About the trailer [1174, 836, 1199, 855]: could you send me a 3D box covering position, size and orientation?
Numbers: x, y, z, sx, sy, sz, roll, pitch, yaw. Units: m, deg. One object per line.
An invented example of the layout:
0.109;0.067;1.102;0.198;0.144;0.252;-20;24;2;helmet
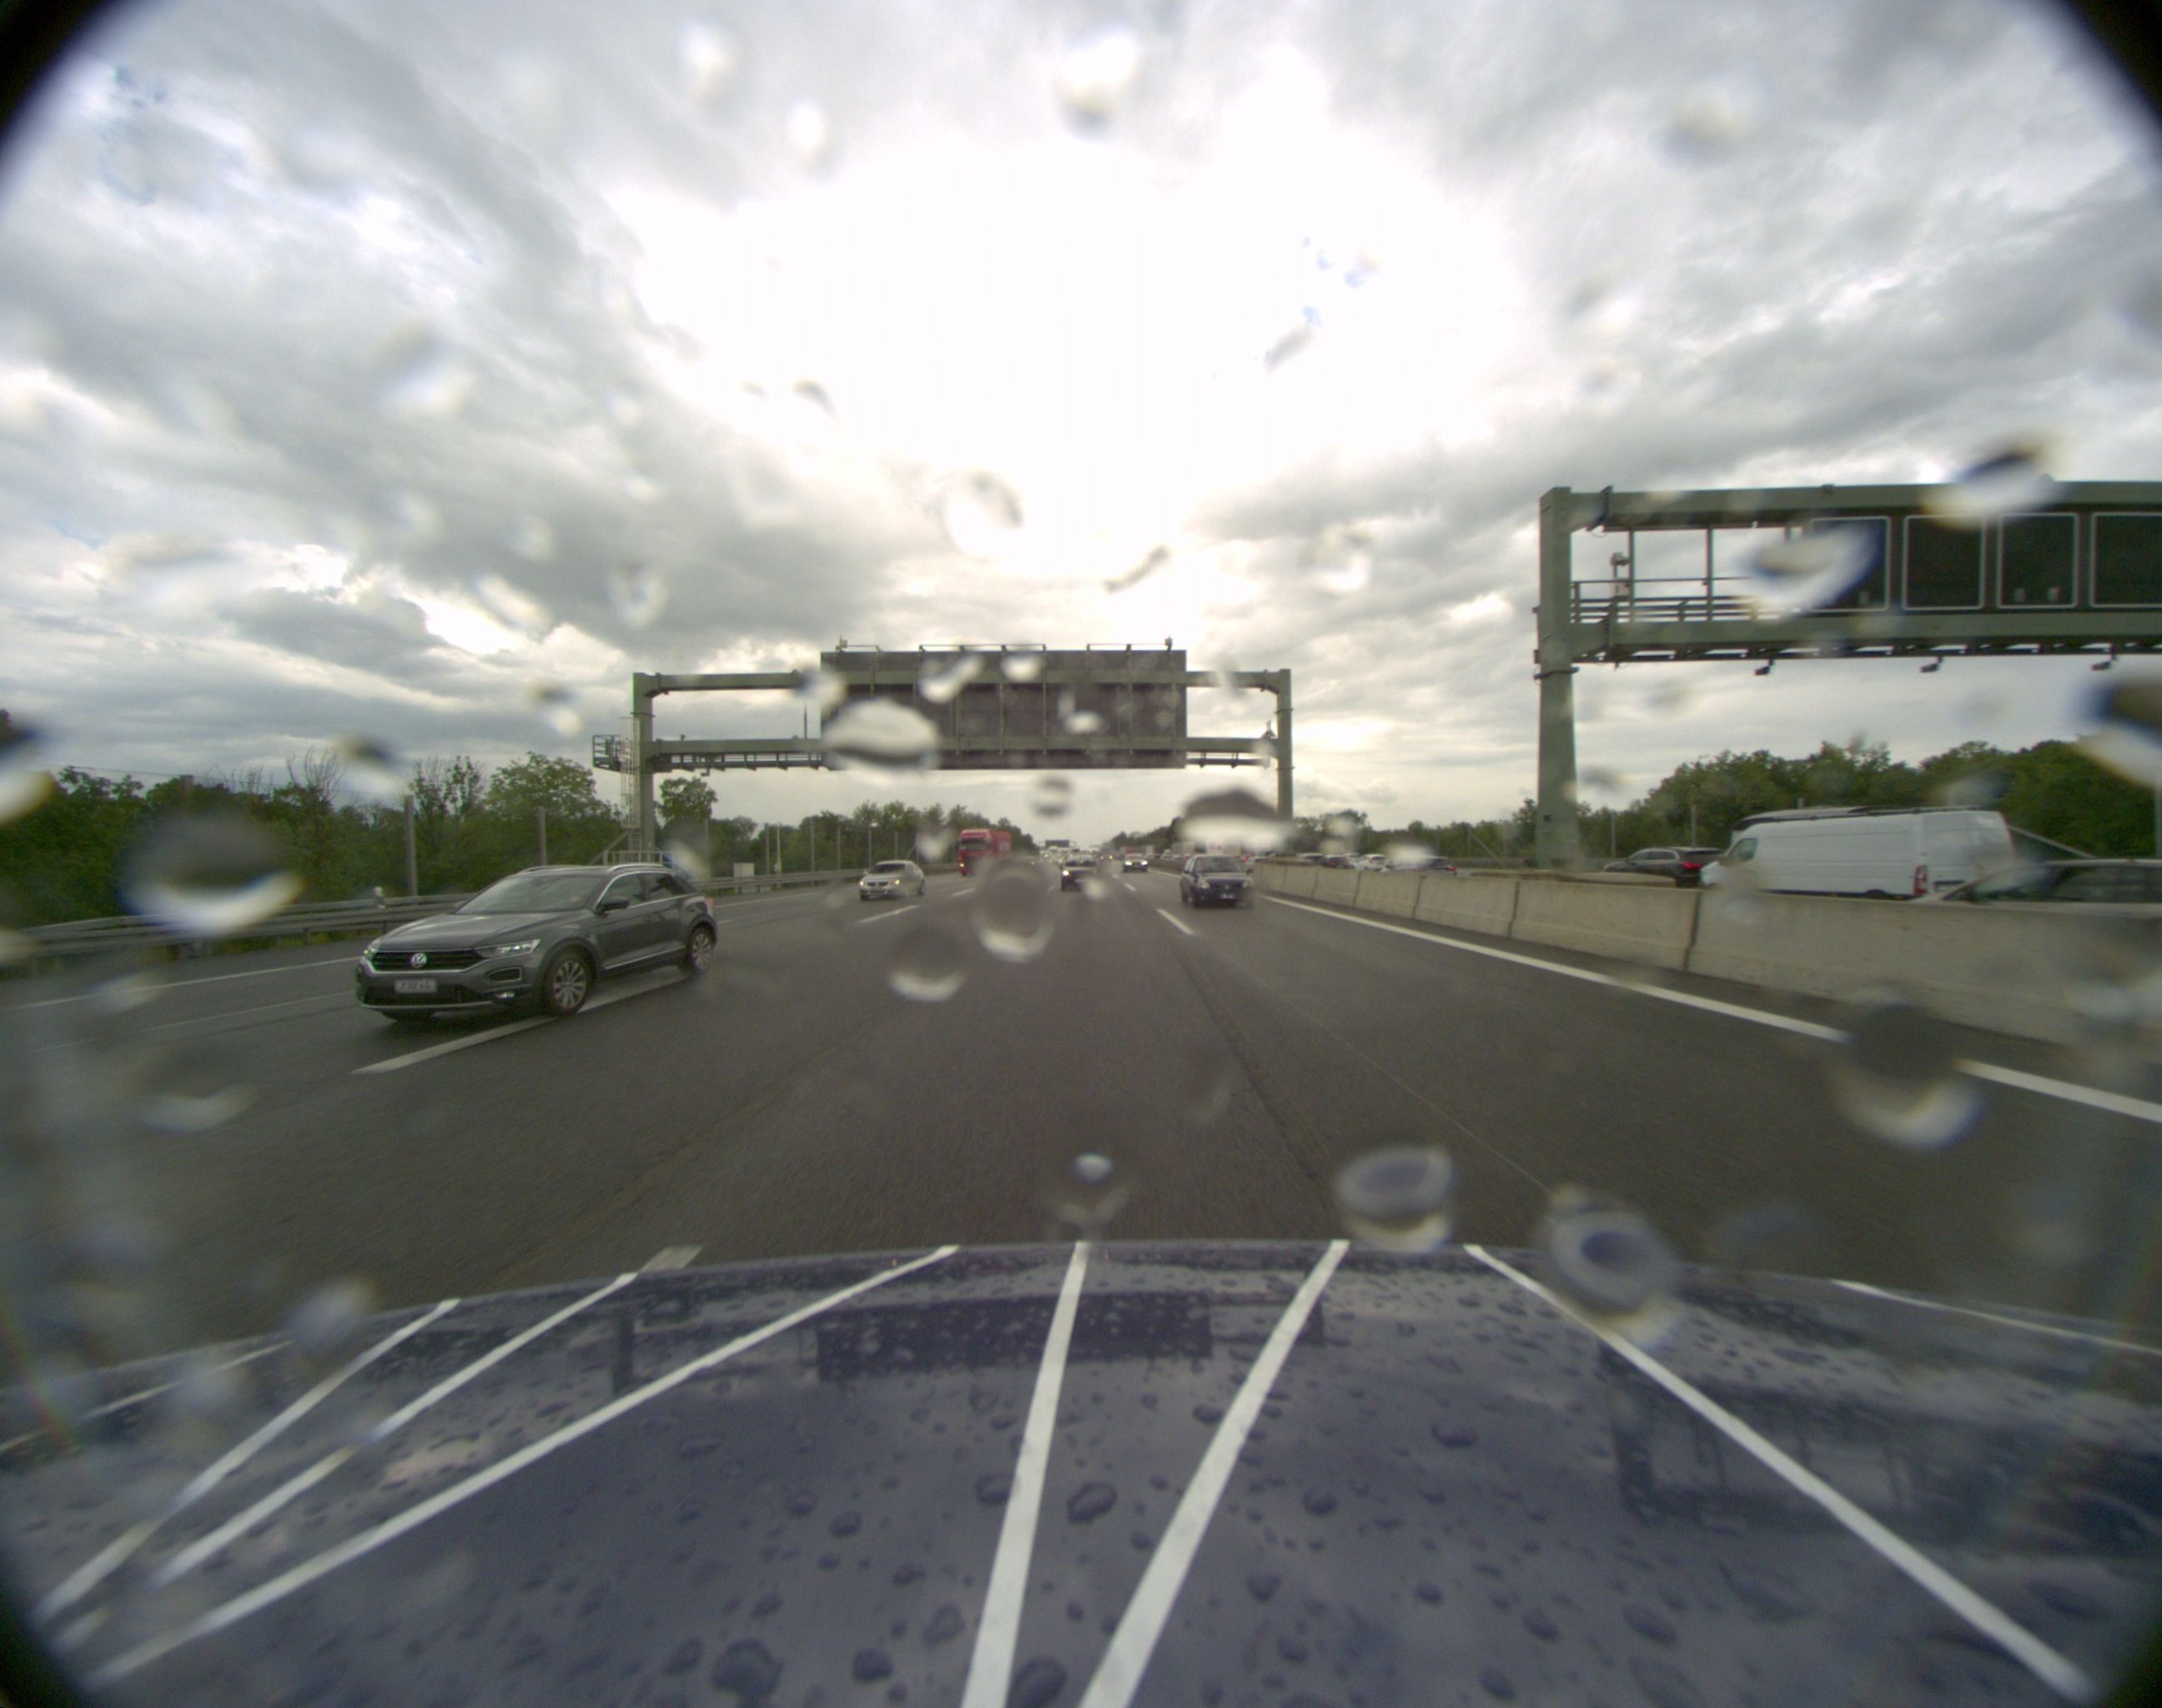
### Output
22.198;-1.738;160.689;3.252;3.910;13.015;-2;0;0;trailer

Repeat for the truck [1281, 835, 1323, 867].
25.457;-0.313;87.833;2.470;3.516;7.807;-1;0;0;truck

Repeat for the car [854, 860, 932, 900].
-7.442;0.978;30.482;1.898;1.438;4.246;-1;0;2;car

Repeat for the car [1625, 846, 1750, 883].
26.024;0.444;32.842;1.707;1.440;4.503;-1;0;-2;car

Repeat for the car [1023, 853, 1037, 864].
-7.011;0.643;105.086;1.820;1.534;4.357;-1;0;-3;car

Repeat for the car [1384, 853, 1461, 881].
18.108;0.673;40.589;1.803;1.349;5.129;-1;0;0;car

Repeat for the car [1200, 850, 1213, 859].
22.688;0.072;137.354;1.649;1.536;4.000;-1;0;1;car

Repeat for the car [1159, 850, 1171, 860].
18.099;0.163;164.141;1.826;2.040;5.675;-1;0;0;car

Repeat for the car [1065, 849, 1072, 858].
-3.674;-0.220;221.342;2.037;2.587;4.513;-1;0;-2;car

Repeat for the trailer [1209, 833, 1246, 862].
22.196;-0.953;115.781;3.195;4.169;11.956;-1;0;0;trailer

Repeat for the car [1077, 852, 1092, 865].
0.574;0.671;110.909;2.134;1.831;4.000;-1;0;0;car

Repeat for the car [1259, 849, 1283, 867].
21.679;0.465;86.785;1.587;1.879;4.820;-1;0;0;car

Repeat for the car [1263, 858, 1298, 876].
18.424;1.197;70.492;1.887;1.589;5.135;-1;0;0;car

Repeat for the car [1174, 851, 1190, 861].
14.432;0.321;108.796;1.649;1.432;4.730;-1;0;1;car

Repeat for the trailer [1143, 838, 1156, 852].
21.196;-2.862;236.232;2.825;4.037;11.602;-2;0;0;trailer

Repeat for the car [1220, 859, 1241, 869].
18.716;1.234;95.301;1.707;1.281;4.187;-1;0;0;car

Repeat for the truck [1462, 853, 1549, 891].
20.677;0.850;37.248;1.999;1.736;4.000;-1;0;-1;truck

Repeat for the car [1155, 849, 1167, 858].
14.684;-0.180;139.736;1.797;1.609;4.283;-1;0;1;car

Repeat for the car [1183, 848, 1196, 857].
18.954;-0.257;132.647;1.649;1.494;4.676;-1;0;1;car

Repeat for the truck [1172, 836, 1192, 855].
22.206;-1.823;167.747;3.207;3.910;7.573;-2;0;0;truck

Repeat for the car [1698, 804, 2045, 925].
18.779;0.236;18.715;2.208;2.474;6.065;-1;0;0;car

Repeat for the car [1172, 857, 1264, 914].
3.774;0.813;21.744;1.781;1.399;5.017;-1;0;1;car

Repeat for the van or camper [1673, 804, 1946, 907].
22.529;0.066;24.069;2.590;2.830;6.213;-1;0;-2;van or camper

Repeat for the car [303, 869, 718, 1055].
-6.025;1.011;8.696;1.796;1.553;3.722;-2;0;2;car

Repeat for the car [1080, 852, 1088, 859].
0.930;0.438;212.379;1.999;2.002;3.507;-2;0;-2;car

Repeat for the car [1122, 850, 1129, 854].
14.487;-0.710;247.896;1.836;1.443;4.000;-1;0;0;car

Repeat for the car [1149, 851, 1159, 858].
15.168;0.086;158.334;1.724;1.346;4.625;0;0;0;car

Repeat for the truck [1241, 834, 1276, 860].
26.874;-0.975;115.719;2.906;3.817;10.757;-1;0;1;truck

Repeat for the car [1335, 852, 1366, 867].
26.137;0.567;73.845;1.587;1.418;4.003;-1;0;0;car

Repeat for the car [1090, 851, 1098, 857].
3.775;0.100;217.970;2.037;1.596;3.999;0;0;-2;car

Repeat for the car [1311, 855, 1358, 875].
18.183;0.761;54.737;1.894;1.332;4.564;-1;0;0;car

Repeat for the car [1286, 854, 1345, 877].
14.818;0.710;48.325;2.084;1.349;5.256;-1;0;0;car

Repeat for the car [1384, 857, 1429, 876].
25.870;0.965;60.523;1.766;1.418;4.342;-1;0;0;car

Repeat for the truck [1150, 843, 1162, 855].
25.176;-1.546;254.813;2.727;3.958;11.693;-1;0;0;truck

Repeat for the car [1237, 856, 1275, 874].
14.172;0.889;61.752;1.894;1.332;4.945;-1;0;0;car

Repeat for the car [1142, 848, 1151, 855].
17.979;-0.679;208.727;1.998;1.637;4.000;-2;0;0;car

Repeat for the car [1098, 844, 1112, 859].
3.931;-0.366;124.574;1.999;2.354;4.171;-1;1;-1;car

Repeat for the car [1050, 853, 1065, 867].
-3.229;0.856;106.028;1.962;1.831;3.999;-1;0;-1;car

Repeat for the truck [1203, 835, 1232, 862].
22.142;-0.851;123.361;3.186;4.169;7.737;-1;0;0;truck

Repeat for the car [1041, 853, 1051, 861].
-6.357;0.489;139.619;1.782;1.438;4.586;-1;0;-3;car

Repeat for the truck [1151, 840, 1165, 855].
18.196;-1.409;179.365;2.526;3.379;8.540;0;0;0;truck

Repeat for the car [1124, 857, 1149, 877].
4.410;1.028;60.956;1.751;1.489;4.015;-1;0;1;car

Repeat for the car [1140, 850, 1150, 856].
14.447;-0.271;171.577;1.724;1.346;4.535;0;0;0;car

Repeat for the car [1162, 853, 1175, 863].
14.458;0.608;125.780;1.797;1.609;4.000;-1;0;1;car

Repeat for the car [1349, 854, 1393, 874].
21.684;0.717;57.001;1.625;1.438;4.416;-1;0;0;car

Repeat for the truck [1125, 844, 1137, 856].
17.211;-1.253;263.037;2.992;4.124;12.520;-1;0;-1;truck

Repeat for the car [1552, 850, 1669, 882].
22.032;0.484;31.866;1.707;1.253;4.503;-1;0;-2;car

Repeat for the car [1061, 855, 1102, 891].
0.084;0.793;33.577;1.668;1.431;4.405;-1;0;2;car

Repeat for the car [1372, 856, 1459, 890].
14.429;0.783;33.036;1.707;1.383;4.505;-1;0;-2;car

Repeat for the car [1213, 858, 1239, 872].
14.188;1.082;74.612;1.707;1.281;4.187;-1;0;0;car

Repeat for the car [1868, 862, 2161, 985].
14.165;0.876;10.608;1.763;1.429;4.393;-2;0;0;car

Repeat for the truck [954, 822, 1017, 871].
-8.571;-0.544;70.612;3.160;3.980;15.639;-1;0;2;truck

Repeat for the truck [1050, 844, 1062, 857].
-7.877;-0.984;236.028;3.256;3.884;12.309;-2;0;-4;truck

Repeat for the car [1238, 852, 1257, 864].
21.894;0.580;100.291;1.649;1.554;4.105;-1;0;1;car
